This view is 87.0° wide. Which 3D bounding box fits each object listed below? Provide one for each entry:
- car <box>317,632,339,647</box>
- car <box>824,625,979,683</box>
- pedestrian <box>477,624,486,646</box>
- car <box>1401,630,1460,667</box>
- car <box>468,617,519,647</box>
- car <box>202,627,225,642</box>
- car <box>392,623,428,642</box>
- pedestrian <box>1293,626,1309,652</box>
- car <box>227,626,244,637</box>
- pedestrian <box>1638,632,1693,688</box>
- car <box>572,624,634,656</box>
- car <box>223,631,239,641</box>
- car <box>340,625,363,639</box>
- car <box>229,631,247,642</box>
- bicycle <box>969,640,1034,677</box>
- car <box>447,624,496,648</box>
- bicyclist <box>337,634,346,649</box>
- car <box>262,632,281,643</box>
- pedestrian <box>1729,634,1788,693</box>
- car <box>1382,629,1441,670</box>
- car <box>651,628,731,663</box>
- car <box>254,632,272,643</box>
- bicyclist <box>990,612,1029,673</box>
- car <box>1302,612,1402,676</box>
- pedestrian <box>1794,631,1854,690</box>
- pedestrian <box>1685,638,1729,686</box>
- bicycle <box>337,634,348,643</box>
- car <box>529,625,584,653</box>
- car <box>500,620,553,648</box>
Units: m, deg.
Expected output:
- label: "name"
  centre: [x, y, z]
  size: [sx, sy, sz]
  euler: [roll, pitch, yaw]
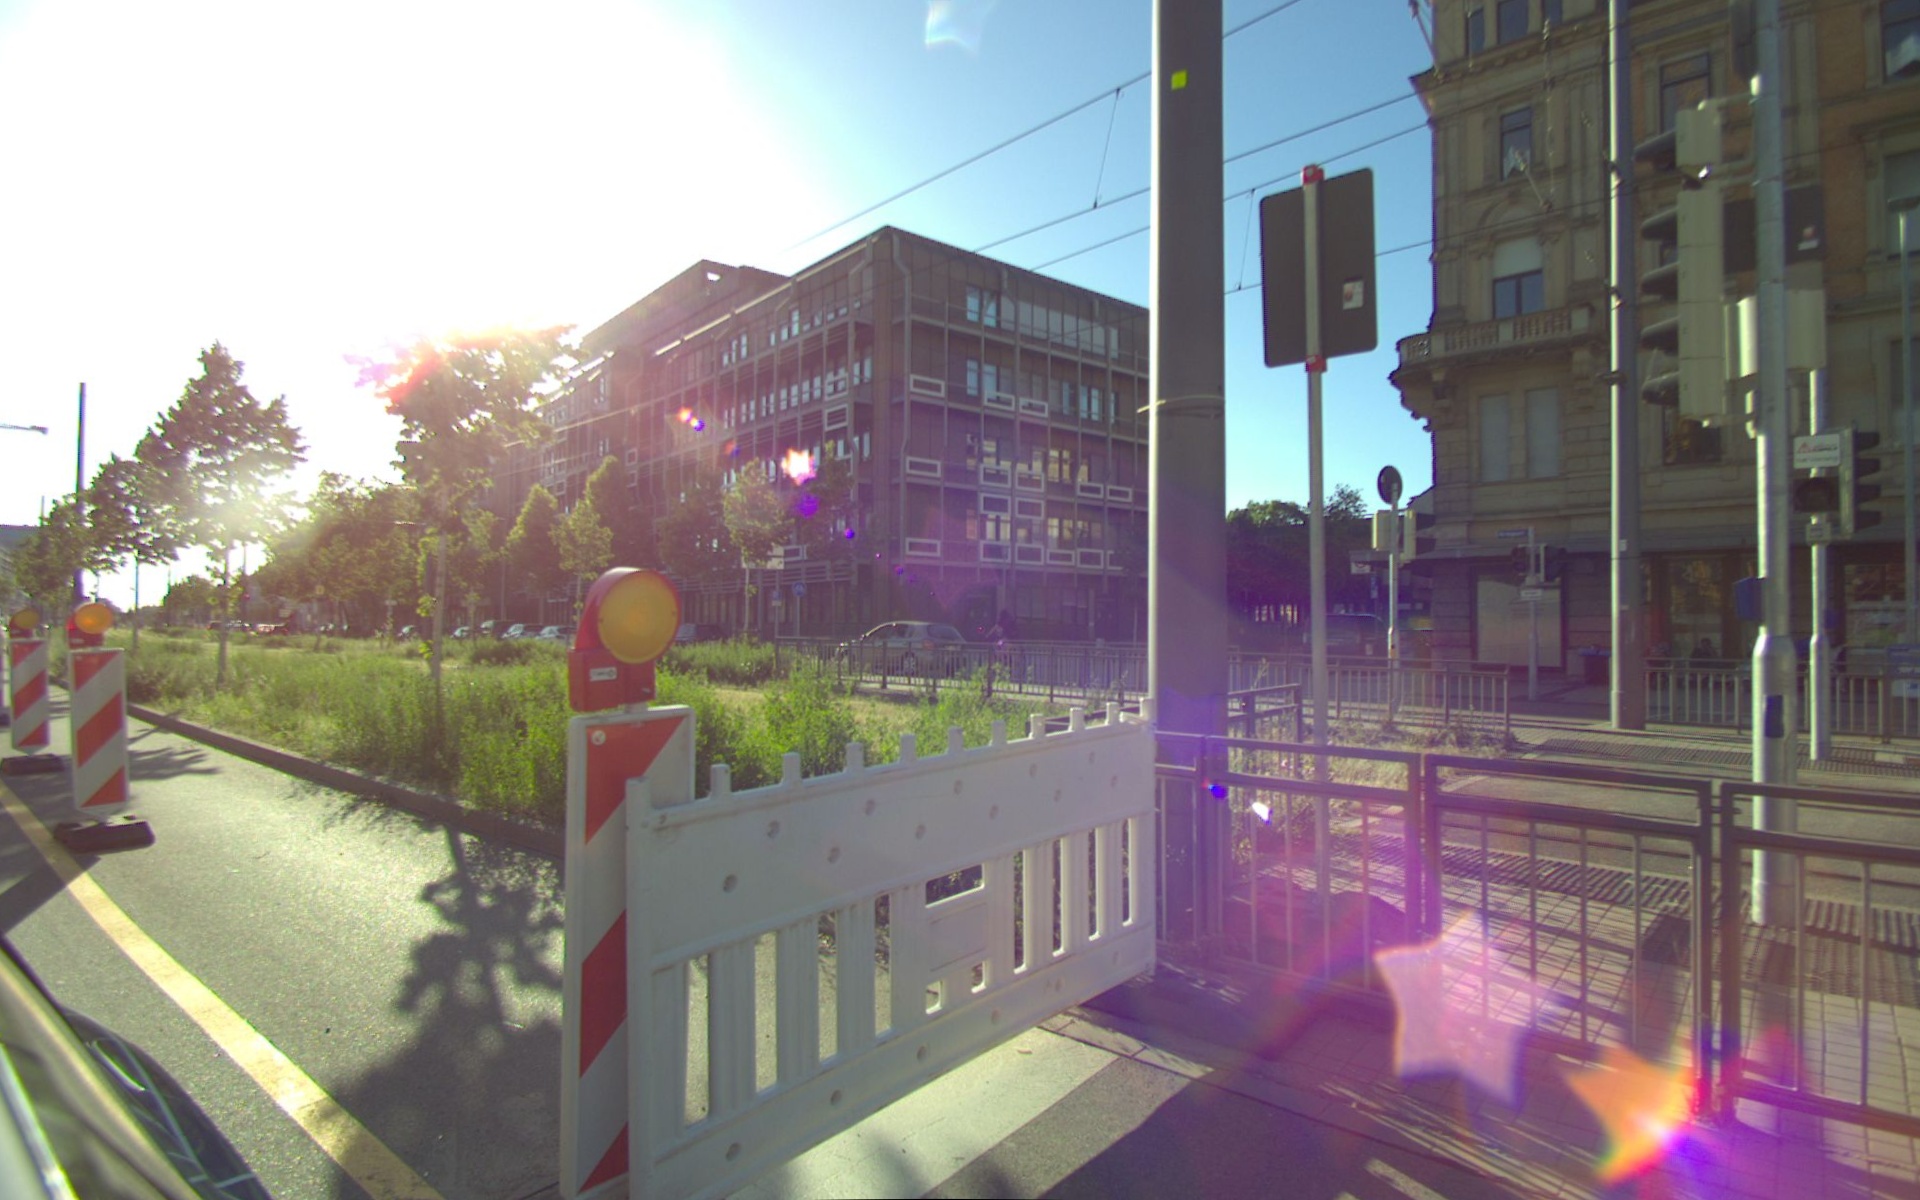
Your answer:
- label: "car"
  centre: [-77.893, 4.848, 124.671]
  size: [1.701, 1.614, 3.636]
  euler: [-1, -4, -42]
- label: "car"
  centre: [-1.611, 1.417, 27.076]
  size: [4.068, 1.431, 1.833]
  euler: [-2, -3, 42]
- label: "pedestrian"
  centre: [-37.828, 2.780, 79.950]
  size: [0.514, 1.735, 0.537]
  euler: [2, -3, -38]
- label: "car"
  centre: [18.986, 1.929, 40.824]
  size: [1.577, 1.420, 3.025]
  euler: [-1, -3, 36]
- label: "car"
  centre: [-28.869, 1.967, 62.605]
  size: [1.729, 1.785, 4.337]
  euler: [0, -2, -41]
- label: "car"
  centre: [-89.347, 4.169, 121.057]
  size: [1.707, 1.760, 4.125]
  euler: [1, -2, -43]
- label: "car"
  centre: [-42.438, 2.466, 78.050]
  size: [1.694, 1.397, 4.047]
  euler: [1, -2, -39]
- label: "pedestrian"
  centre: [20.100, 2.283, 59.711]
  size: [0.735, 1.527, 0.609]
  euler: [-1, -2, 36]
- label: "car"
  centre: [-109.791, 4.820, 153.280]
  size: [1.837, 1.694, 3.786]
  euler: [2, -3, -39]
- label: "pedestrian"
  centre: [16.157, 1.358, 23.180]
  size: [0.929, 1.256, 0.683]
  euler: [-1, -2, 42]
- label: "car"
  centre: [-18.093, 2.006, 51.187]
  size: [1.629, 1.566, 3.972]
  euler: [1, -2, -41]
- label: "car"
  centre: [-105.222, 5.182, 146.079]
  size: [1.531, 1.390, 3.786]
  euler: [2, -3, -39]
- label: "car"
  centre: [-70.710, 3.737, 117.623]
  size: [1.701, 1.555, 3.636]
  euler: [-1, -1, -42]
- label: "car"
  centre: [-99.928, 5.085, 140.024]
  size: [1.607, 1.507, 3.785]
  euler: [2, -3, -41]
- label: "bicycle"
  centre: [1.157, 1.622, 28.464]
  size: [1.827, 0.985, 0.687]
  euler: [-1, -2, 42]
- label: "car"
  centre: [-32.301, 2.398, 66.818]
  size: [1.708, 1.480, 4.509]
  euler: [-1, -1, -42]
- label: "bicyclist"
  centre: [-60.690, 4.055, 99.263]
  size: [0.558, 1.468, 0.706]
  euler: [3, -4, -42]
- label: "car"
  centre: [-91.799, 4.944, 134.930]
  size: [1.694, 1.397, 4.046]
  euler: [1, -2, -40]
- label: "pedestrian"
  centre: [17.094, 1.345, 21.673]
  size: [0.929, 1.217, 0.782]
  euler: [-1, -2, 42]
- label: "car"
  centre: [16.916, 1.821, 37.896]
  size: [1.381, 1.479, 3.115]
  euler: [-1, -3, 36]
- label: "car"
  centre: [-11.968, 1.966, 44.848]
  size: [3.902, 1.472, 1.710]
  euler: [-2, -2, 45]
- label: "car"
  centre: [-97.811, 5.243, 141.998]
  size: [1.607, 1.507, 4.424]
  euler: [2, -3, -39]
- label: "bicyclist"
  centre: [1.396, 1.187, 28.593]
  size: [0.882, 1.670, 0.687]
  euler: [-1, -2, 42]
- label: "car"
  centre: [12.712, 1.393, 32.664]
  size: [1.895, 1.918, 4.468]
  euler: [-1, -3, 36]
- label: "pedestrian"
  centre: [18.356, 1.265, 21.511]
  size: [0.929, 1.217, 0.683]
  euler: [-1, -2, 42]
- label: "pedestrian"
  centre: [17.213, 1.420, 23.315]
  size: [0.736, 1.067, 0.683]
  euler: [-1, -2, 42]
- label: "bicycle"
  centre: [-60.236, 3.744, 98.782]
  size: [0.558, 0.884, 1.773]
  euler: [3, -4, -42]
- label: "car"
  centre: [-21.988, 2.109, 55.036]
  size: [1.605, 1.452, 3.824]
  euler: [0, -1, -41]
- label: "car"
  centre: [-25.325, 1.973, 59.067]
  size: [1.716, 1.548, 3.889]
  euler: [0, -2, -41]
